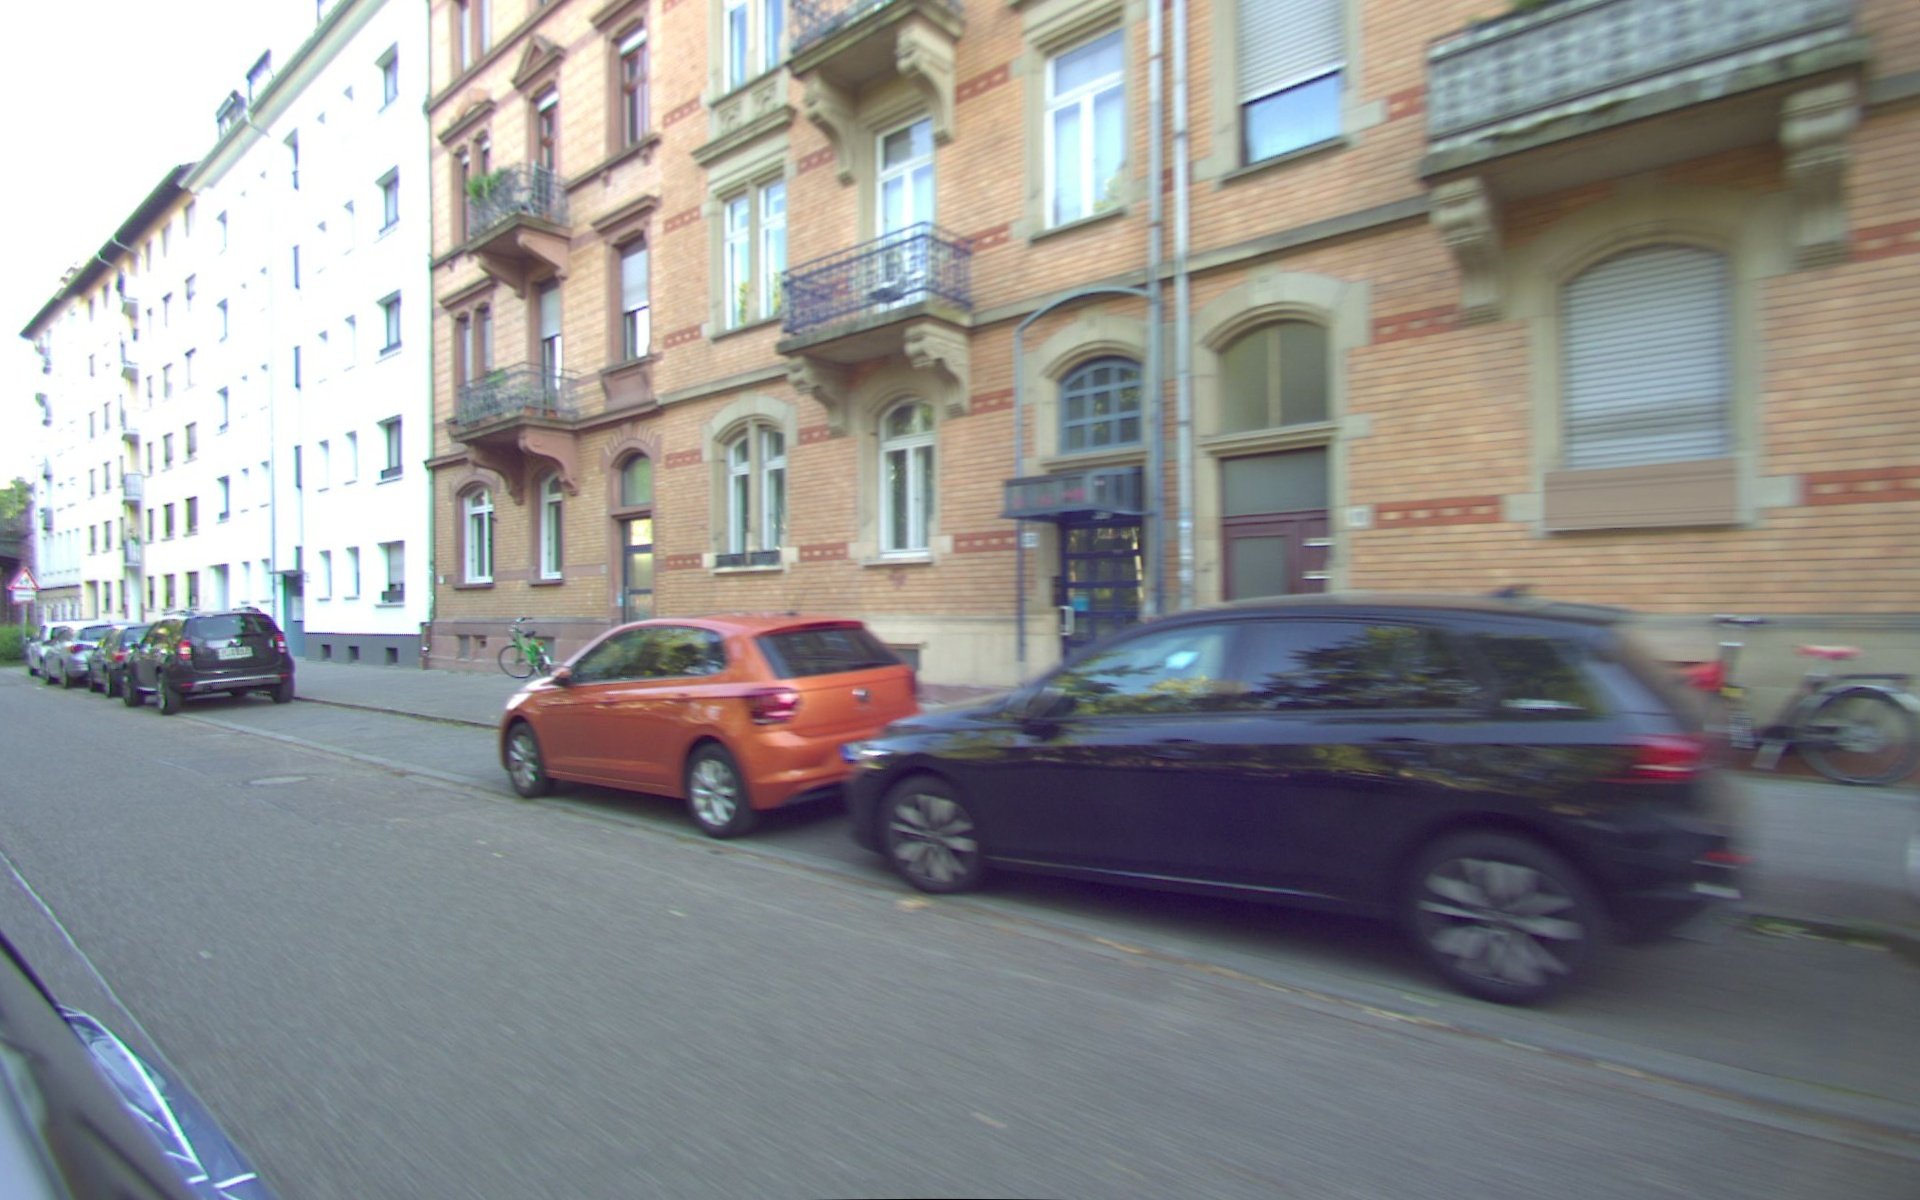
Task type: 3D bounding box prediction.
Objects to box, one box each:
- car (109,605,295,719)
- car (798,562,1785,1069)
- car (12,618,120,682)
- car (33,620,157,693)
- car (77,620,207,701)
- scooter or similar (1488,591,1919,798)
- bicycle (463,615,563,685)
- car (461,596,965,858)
[{"bbox_3d":[-13.270,0.989,17.629,4.198,1.719,1.734,-1,0,41],"label":"car"},{"bbox_3d":[1.314,0.670,5.015,4.142,1.558,1.732,-1,1,35],"label":"car"},{"bbox_3d":[-24.506,1.328,27.692,3.998,1.519,1.651,-1,2,41],"label":"car"},{"bbox_3d":[-20.758,1.279,24.228,4.283,1.482,1.651,-1,2,42],"label":"car"},{"bbox_3d":[-17.262,1.208,21.301,4.001,1.462,1.598,-2,1,44],"label":"car"},{"bbox_3d":[5.307,0.567,7.136,2.703,1.231,0.775,1,1,41],"label":"scooter or similar"},{"bbox_3d":[-8.367,0.920,18.861,2.513,1.216,0.729,-2,-1,42],"label":"bicycle"},{"bbox_3d":[-2.074,0.785,7.890,3.996,1.475,1.736,-2,1,40],"label":"car"}]
